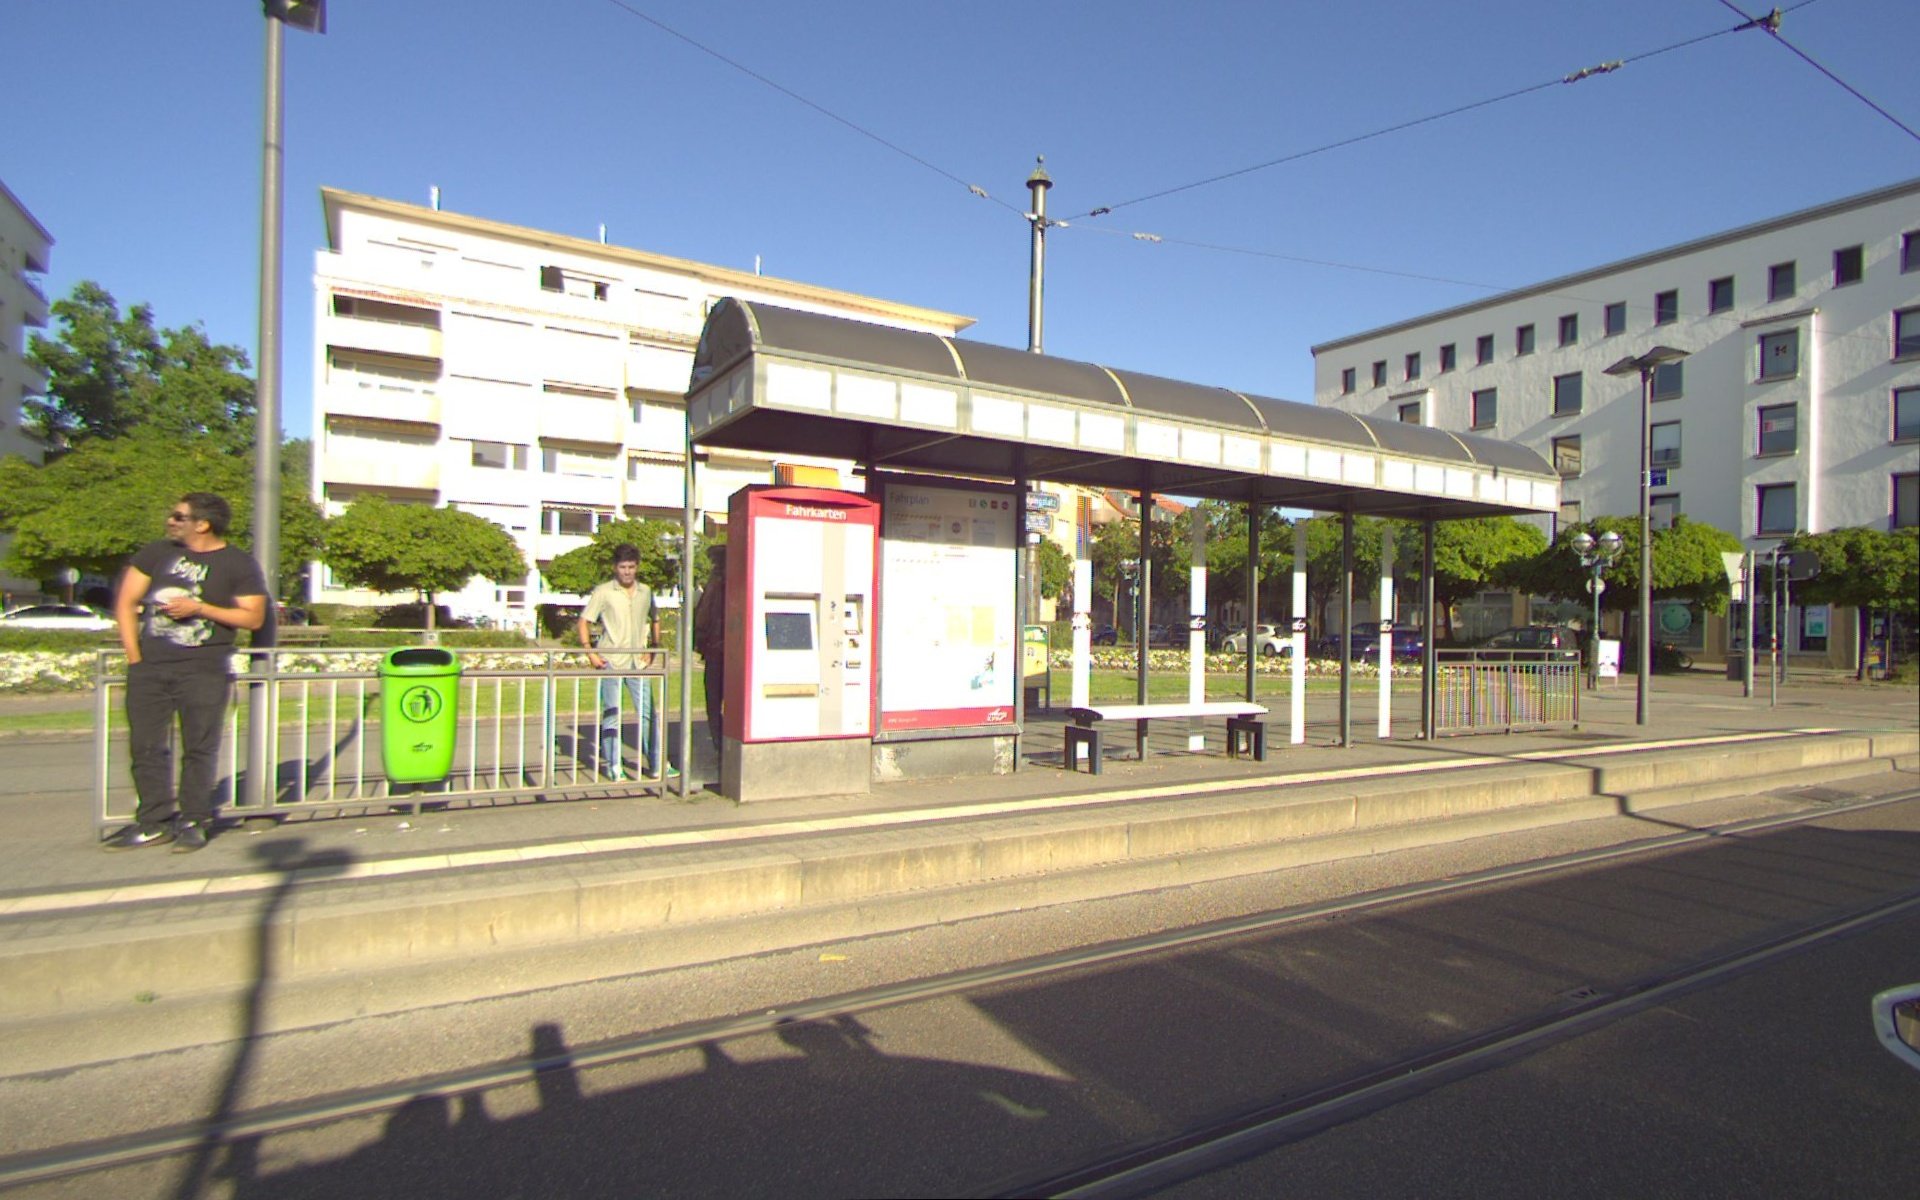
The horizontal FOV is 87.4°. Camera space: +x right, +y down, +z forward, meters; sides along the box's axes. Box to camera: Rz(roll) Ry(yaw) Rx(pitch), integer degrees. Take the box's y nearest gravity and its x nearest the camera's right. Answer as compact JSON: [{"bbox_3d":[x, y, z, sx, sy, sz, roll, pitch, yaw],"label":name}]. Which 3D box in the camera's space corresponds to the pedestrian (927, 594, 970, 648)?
[{"bbox_3d":[-0.451,0.825,39.450,1.219,2.040,1.214,2,-1,-30],"label":"pedestrian"}]

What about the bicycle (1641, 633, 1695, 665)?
[{"bbox_3d":[28.047,1.950,39.755,2.586,1.206,0.615,2,-1,-27],"label":"bicycle"}]

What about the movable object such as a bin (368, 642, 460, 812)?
[{"bbox_3d":[-2.962,0.671,5.465,0.411,0.871,0.335,1,-1,-27],"label":"movable object such as a bin"}]

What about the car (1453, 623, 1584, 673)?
[{"bbox_3d":[20.904,1.768,37.739,1.804,1.728,3.968,2,-1,-30],"label":"car"}]

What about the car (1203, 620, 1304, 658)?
[{"bbox_3d":[13.895,1.814,47.792,1.835,1.628,4.581,2,-1,-31],"label":"car"}]

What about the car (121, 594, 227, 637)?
[{"bbox_3d":[-29.017,0.592,37.174,2.899,1.506,1.407,2,-1,-30],"label":"car"}]

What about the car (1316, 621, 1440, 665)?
[{"bbox_3d":[17.704,1.794,42.729,1.978,1.684,4.581,2,-1,-31],"label":"car"}]

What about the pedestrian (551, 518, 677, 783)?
[{"bbox_3d":[-2.503,0.361,7.257,0.760,1.797,0.613,1,-3,-28],"label":"pedestrian"}]

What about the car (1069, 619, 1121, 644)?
[{"bbox_3d":[9.036,2.099,67.079,1.887,1.514,4.343,2,-1,31],"label":"car"}]

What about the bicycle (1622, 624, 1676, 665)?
[{"bbox_3d":[27.723,1.798,40.399,2.585,1.628,0.616,2,-1,-26],"label":"bicycle"}]

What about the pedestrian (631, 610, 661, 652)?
[{"bbox_3d":[-10.531,1.049,33.678,0.673,1.378,1.042,2,-1,-34],"label":"pedestrian"}]

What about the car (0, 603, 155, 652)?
[{"bbox_3d":[-25.745,0.787,28.937,3.672,1.318,1.984,2,-1,-30],"label":"car"}]

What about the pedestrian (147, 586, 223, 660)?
[{"bbox_3d":[-19.618,0.576,25.462,1.157,1.811,1.078,1,-1,-15],"label":"pedestrian"}]

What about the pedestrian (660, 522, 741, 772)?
[{"bbox_3d":[-2.036,0.364,7.885,0.519,1.883,0.426,1,-3,-27],"label":"pedestrian"}]

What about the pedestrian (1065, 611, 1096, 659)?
[{"bbox_3d":[4.652,1.339,38.832,0.856,1.841,0.944,1,-1,-19],"label":"pedestrian"}]

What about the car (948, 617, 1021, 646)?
[{"bbox_3d":[1.210,1.538,49.675,3.271,1.372,1.638,2,-1,-29],"label":"car"}]

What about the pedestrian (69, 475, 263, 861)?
[{"bbox_3d":[-3.852,0.321,4.925,0.599,1.740,0.546,1,-3,-28],"label":"pedestrian"}]
